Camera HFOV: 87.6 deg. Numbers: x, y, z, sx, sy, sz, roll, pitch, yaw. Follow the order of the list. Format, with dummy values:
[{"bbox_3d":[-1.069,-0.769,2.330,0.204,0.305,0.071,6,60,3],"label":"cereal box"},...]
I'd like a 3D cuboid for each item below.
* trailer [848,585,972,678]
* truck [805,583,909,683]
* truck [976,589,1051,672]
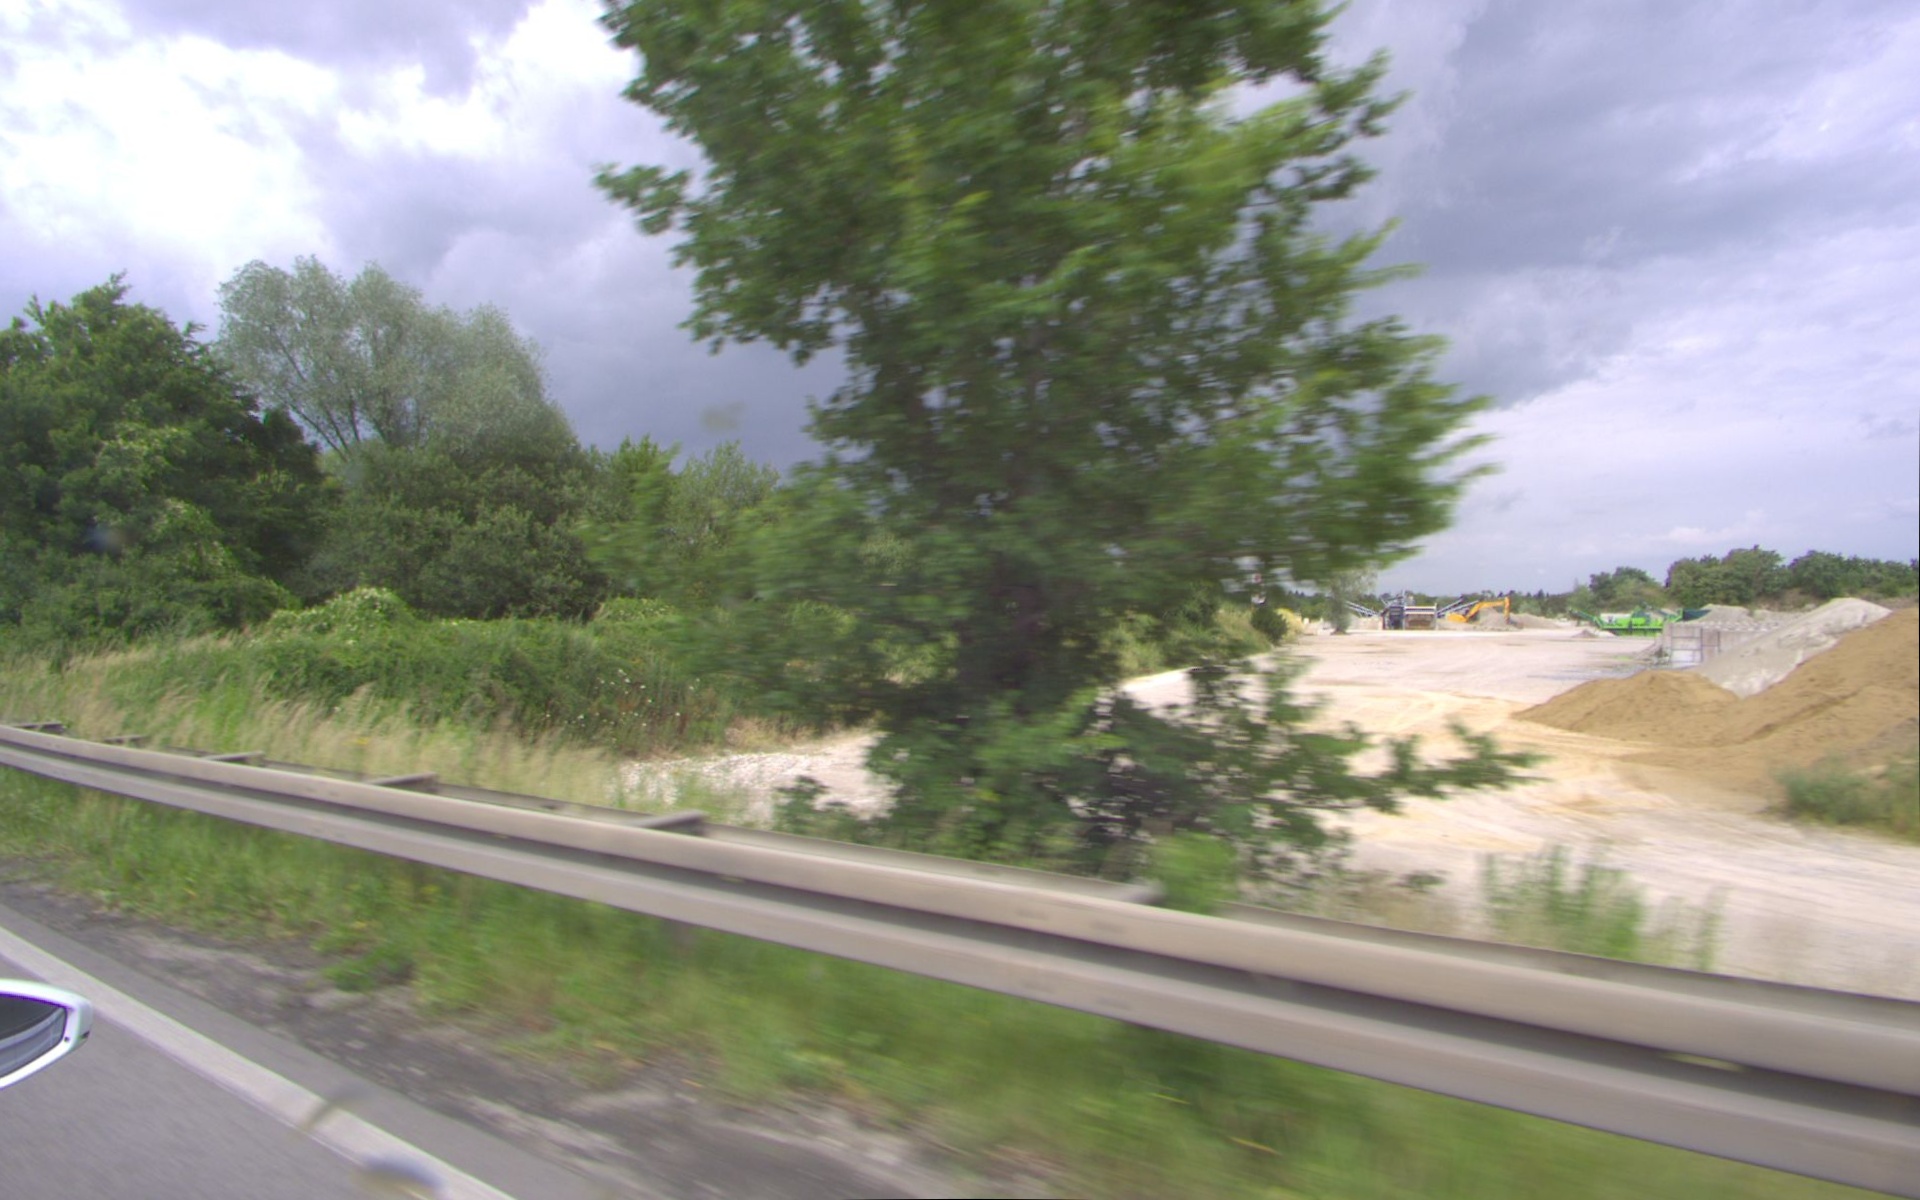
[{"bbox_3d":[-2.609,1.721,57.739,2.624,4.898,10.250,0,-1,25],"label":"trailer"},{"bbox_3d":[-5.243,1.670,52.099,2.624,4.849,6.143,0,0,25],"label":"truck"},{"bbox_3d":[3.446,1.849,62.666,2.624,4.953,5.946,0,0,25],"label":"truck"}]
